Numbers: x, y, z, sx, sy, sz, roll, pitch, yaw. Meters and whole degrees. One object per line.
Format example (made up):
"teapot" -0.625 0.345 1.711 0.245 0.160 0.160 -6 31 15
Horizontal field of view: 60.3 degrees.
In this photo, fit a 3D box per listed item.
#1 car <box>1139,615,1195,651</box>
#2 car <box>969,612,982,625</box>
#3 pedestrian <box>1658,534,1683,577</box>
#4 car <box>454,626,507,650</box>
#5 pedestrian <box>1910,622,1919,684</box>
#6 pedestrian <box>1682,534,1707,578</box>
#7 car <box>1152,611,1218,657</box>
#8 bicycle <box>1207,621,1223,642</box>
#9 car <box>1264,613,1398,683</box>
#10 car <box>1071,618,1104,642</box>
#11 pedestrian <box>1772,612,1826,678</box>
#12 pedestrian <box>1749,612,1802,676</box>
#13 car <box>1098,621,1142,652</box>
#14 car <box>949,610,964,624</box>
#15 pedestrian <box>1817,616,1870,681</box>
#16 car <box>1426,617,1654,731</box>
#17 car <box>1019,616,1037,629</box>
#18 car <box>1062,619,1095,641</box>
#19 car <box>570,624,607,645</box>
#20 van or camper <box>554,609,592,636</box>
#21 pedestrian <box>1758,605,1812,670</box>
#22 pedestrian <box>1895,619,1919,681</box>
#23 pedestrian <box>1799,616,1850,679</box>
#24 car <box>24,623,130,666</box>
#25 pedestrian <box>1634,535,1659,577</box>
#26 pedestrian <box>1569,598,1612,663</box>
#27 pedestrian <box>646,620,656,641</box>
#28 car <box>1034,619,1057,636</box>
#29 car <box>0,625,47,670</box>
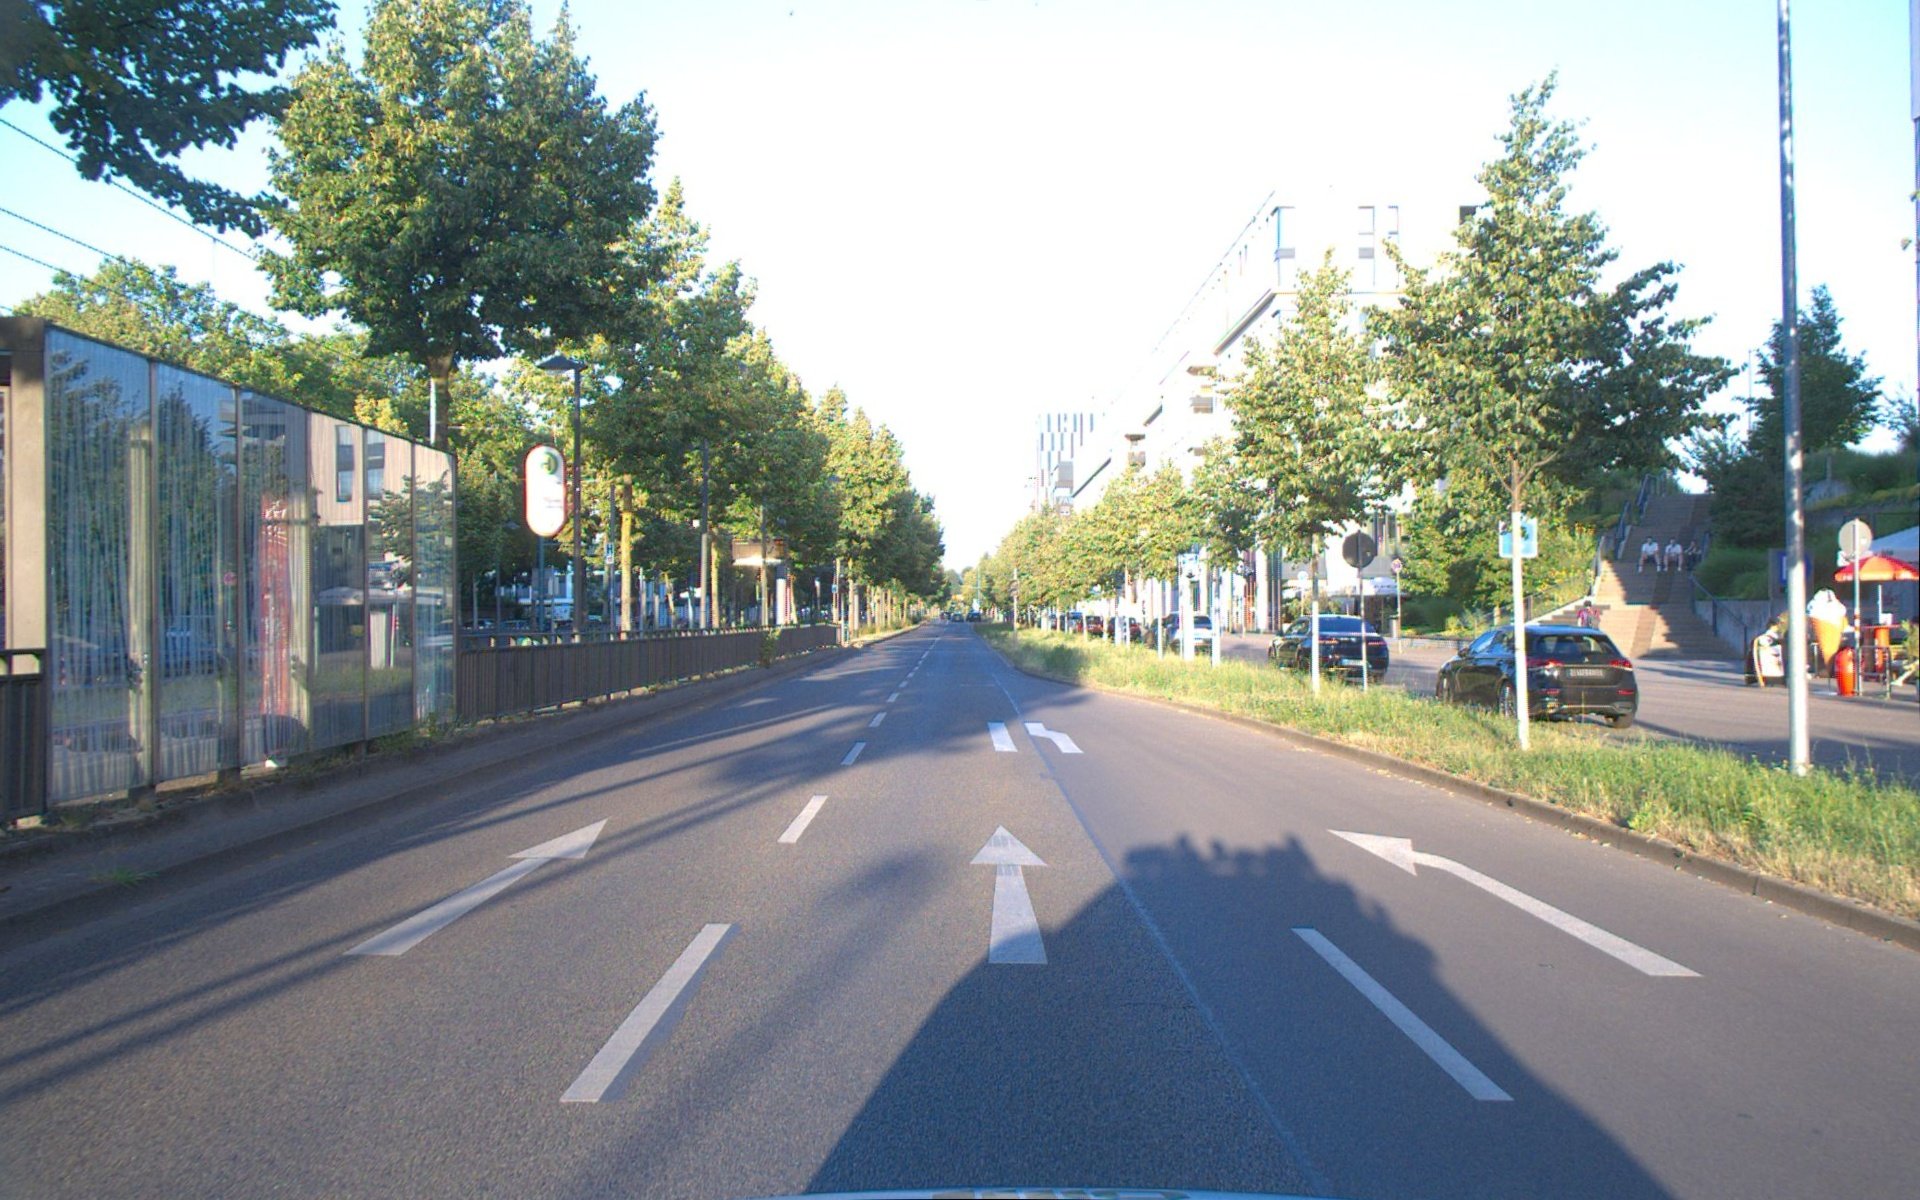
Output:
"car" 8.356 1.325 67.110 1.714 1.422 3.999 0 -1 -1
"car" 2.424 2.949 260.842 1.953 2.049 3.999 0 -1 -1
"pedestrian" 23.708 -1.470 55.151 0.655 1.405 0.825 0 0 31
"car" -30.654 2.419 105.858 1.952 1.525 4.557 -1 -1 1
"pedestrian" 18.267 0.961 30.588 0.952 1.145 0.684 -3 -1 0
"pedestrian" 24.346 -1.452 54.848 0.655 1.405 0.825 1 -1 31
"car" 8.343 1.238 61.676 1.772 1.660 4.675 0 -1 -1
"bicycle" 15.366 1.872 99.770 0.604 1.253 1.670 -1 -1 -2
"car" 8.728 1.090 39.375 1.880 1.527 5.410 0 -1 -1
"car" 8.328 1.979 108.361 1.772 1.527 3.958 0 -1 -1
"pedestrian" 17.328 0.920 34.169 0.759 1.313 0.685 -3 -1 6
"pedestrian" 17.255 0.919 35.000 0.764 1.313 0.685 -3 -1 6
"car" 8.164 1.837 84.793 1.772 1.527 4.367 0 -1 -1
"car" -0.523 2.463 245.856 2.045 2.049 3.999 0 -1 -1
"pedestrian" 18.227 0.996 34.126 0.671 1.313 0.627 -2 -1 -14
"car" 8.532 1.028 24.775 1.772 1.527 4.478 0 -1 -1
"car" 8.266 2.733 201.125 1.904 1.576 4.809 -1 -1 -2
"car" 8.284 2.098 115.892 1.882 1.527 5.008 0 -1 -1
"car" -29.701 2.751 132.402 1.765 1.588 3.840 -1 -1 5
"van or camper" -45.336 2.666 193.861 2.653 3.139 6.264 0 -1 4
"pedestrian" 18.066 0.822 36.234 0.730 1.392 0.768 0 -1 -12
"pedestrian" 18.455 0.926 31.401 0.952 1.145 0.684 -3 -1 0
"pedestrian" 18.342 1.007 35.111 0.655 1.313 0.677 -2 -1 -33
"car" -33.481 1.665 62.856 1.772 1.558 4.054 -1 -1 1
"pedestrian" 23.042 -1.472 55.535 0.655 1.405 0.825 1 -1 31
"pedestrian" 16.707 0.805 43.850 0.681 1.684 1.078 0 -1 -1
"pedestrian" -26.371 2.566 141.075 0.679 1.773 0.866 -1 -1 -2
"car" 8.120 2.627 157.406 1.772 1.527 4.824 0 -1 -1
"car" -33.547 1.625 56.763 1.952 1.527 4.299 -1 -1 1
